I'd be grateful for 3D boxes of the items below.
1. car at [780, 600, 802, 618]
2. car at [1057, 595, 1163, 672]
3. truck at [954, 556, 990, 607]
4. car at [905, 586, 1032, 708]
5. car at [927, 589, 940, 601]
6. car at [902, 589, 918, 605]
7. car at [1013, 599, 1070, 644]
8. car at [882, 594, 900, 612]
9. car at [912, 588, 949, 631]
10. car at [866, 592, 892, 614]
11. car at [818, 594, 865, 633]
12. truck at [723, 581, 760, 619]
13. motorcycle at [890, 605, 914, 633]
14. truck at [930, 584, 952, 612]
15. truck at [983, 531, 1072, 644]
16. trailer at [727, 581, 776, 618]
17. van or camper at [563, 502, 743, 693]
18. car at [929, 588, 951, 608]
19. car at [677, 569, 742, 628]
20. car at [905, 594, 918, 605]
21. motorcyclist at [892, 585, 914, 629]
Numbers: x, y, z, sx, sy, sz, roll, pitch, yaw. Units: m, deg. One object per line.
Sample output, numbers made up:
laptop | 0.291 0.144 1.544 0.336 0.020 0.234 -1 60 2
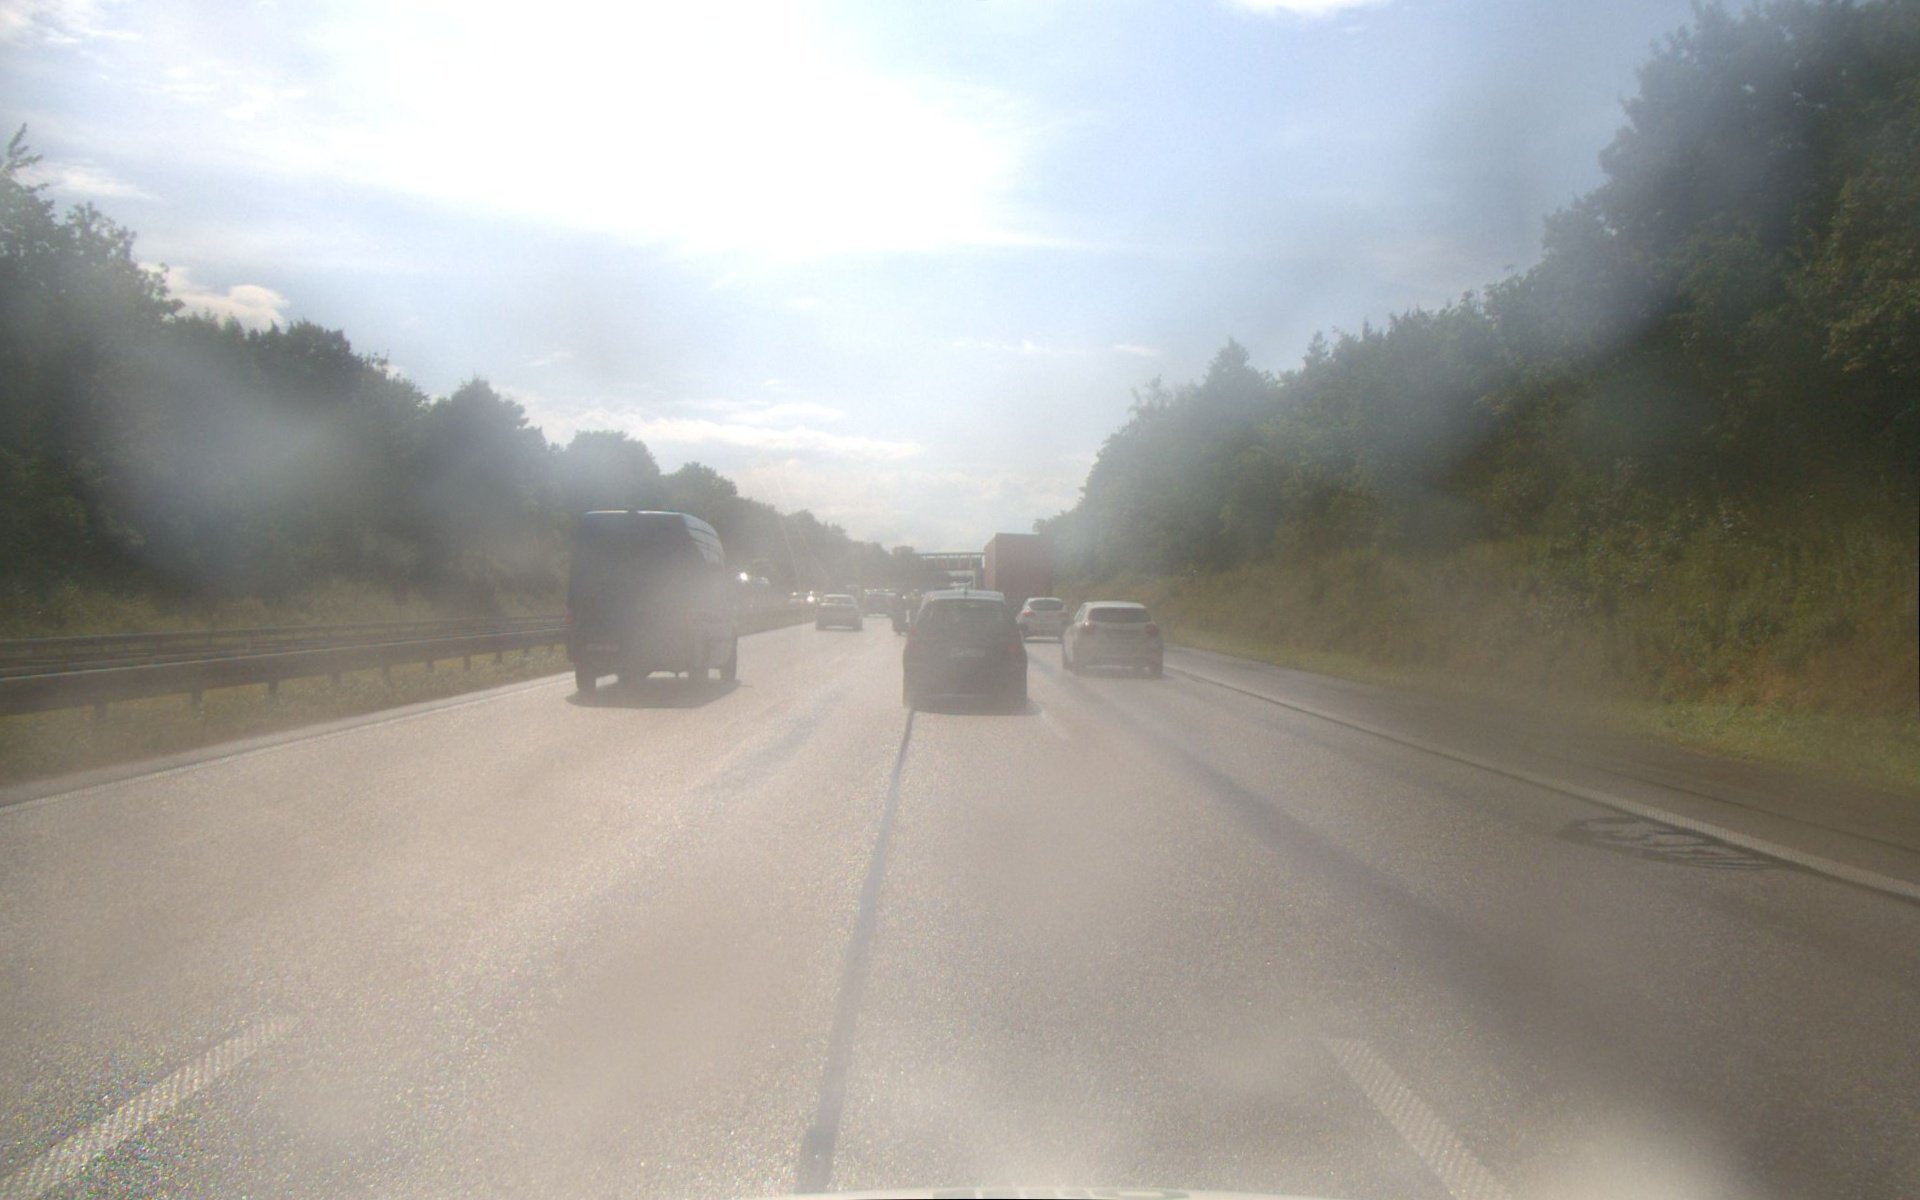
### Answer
car | -19.343 1.045 189.544 1.830 1.980 5.041 1 0 1
car | 2.996 0.652 33.837 1.658 1.450 4.219 1 0 -2
truck | 1.079 -1.666 155.444 3.189 4.558 12.420 1 0 0
car | 0.070 0.627 23.824 1.683 1.595 3.483 1 0 -2
car | -4.140 -0.783 257.361 1.953 1.759 4.000 0 0 0
car | -6.417 -0.406 212.666 1.953 2.049 3.999 0 0 -1
car | 2.765 0.731 56.849 1.646 1.467 3.904 1 0 -2
car | -5.780 0.250 138.519 1.431 1.418 3.310 1 0 -2
car | -1.283 0.415 71.324 1.500 1.777 3.483 1 0 -2
car | -5.486 0.208 112.277 1.716 1.482 3.388 1 0 -2
car | -4.991 0.563 69.980 1.817 1.578 3.483 1 0 -2
truck | -23.395 -0.032 177.193 2.929 3.898 6.864 1 0 0
motorcycle | -2.177 0.714 62.794 0.873 1.018 2.895 1 0 -2
truck | -1.978 -0.217 173.190 2.147 2.926 4.848 1 0 -2
truck | 3.011 -0.527 79.136 3.575 4.803 16.778 1 0 0
trailer | -23.312 -0.017 186.016 2.929 3.898 17.952 1 0 0
van or camper | -4.755 -0.032 26.433 1.953 2.715 5.383 1 0 -2
car | -1.474 -0.109 120.244 1.521 1.407 3.209 1 0 -2
car | -11.116 -0.064 73.713 2.139 2.495 5.746 1 0 -2
car | -5.617 -0.086 191.346 1.518 1.289 3.483 1 0 -2
motorcyclist | -2.153 0.259 62.751 0.785 1.662 1.013 1 0 -2
